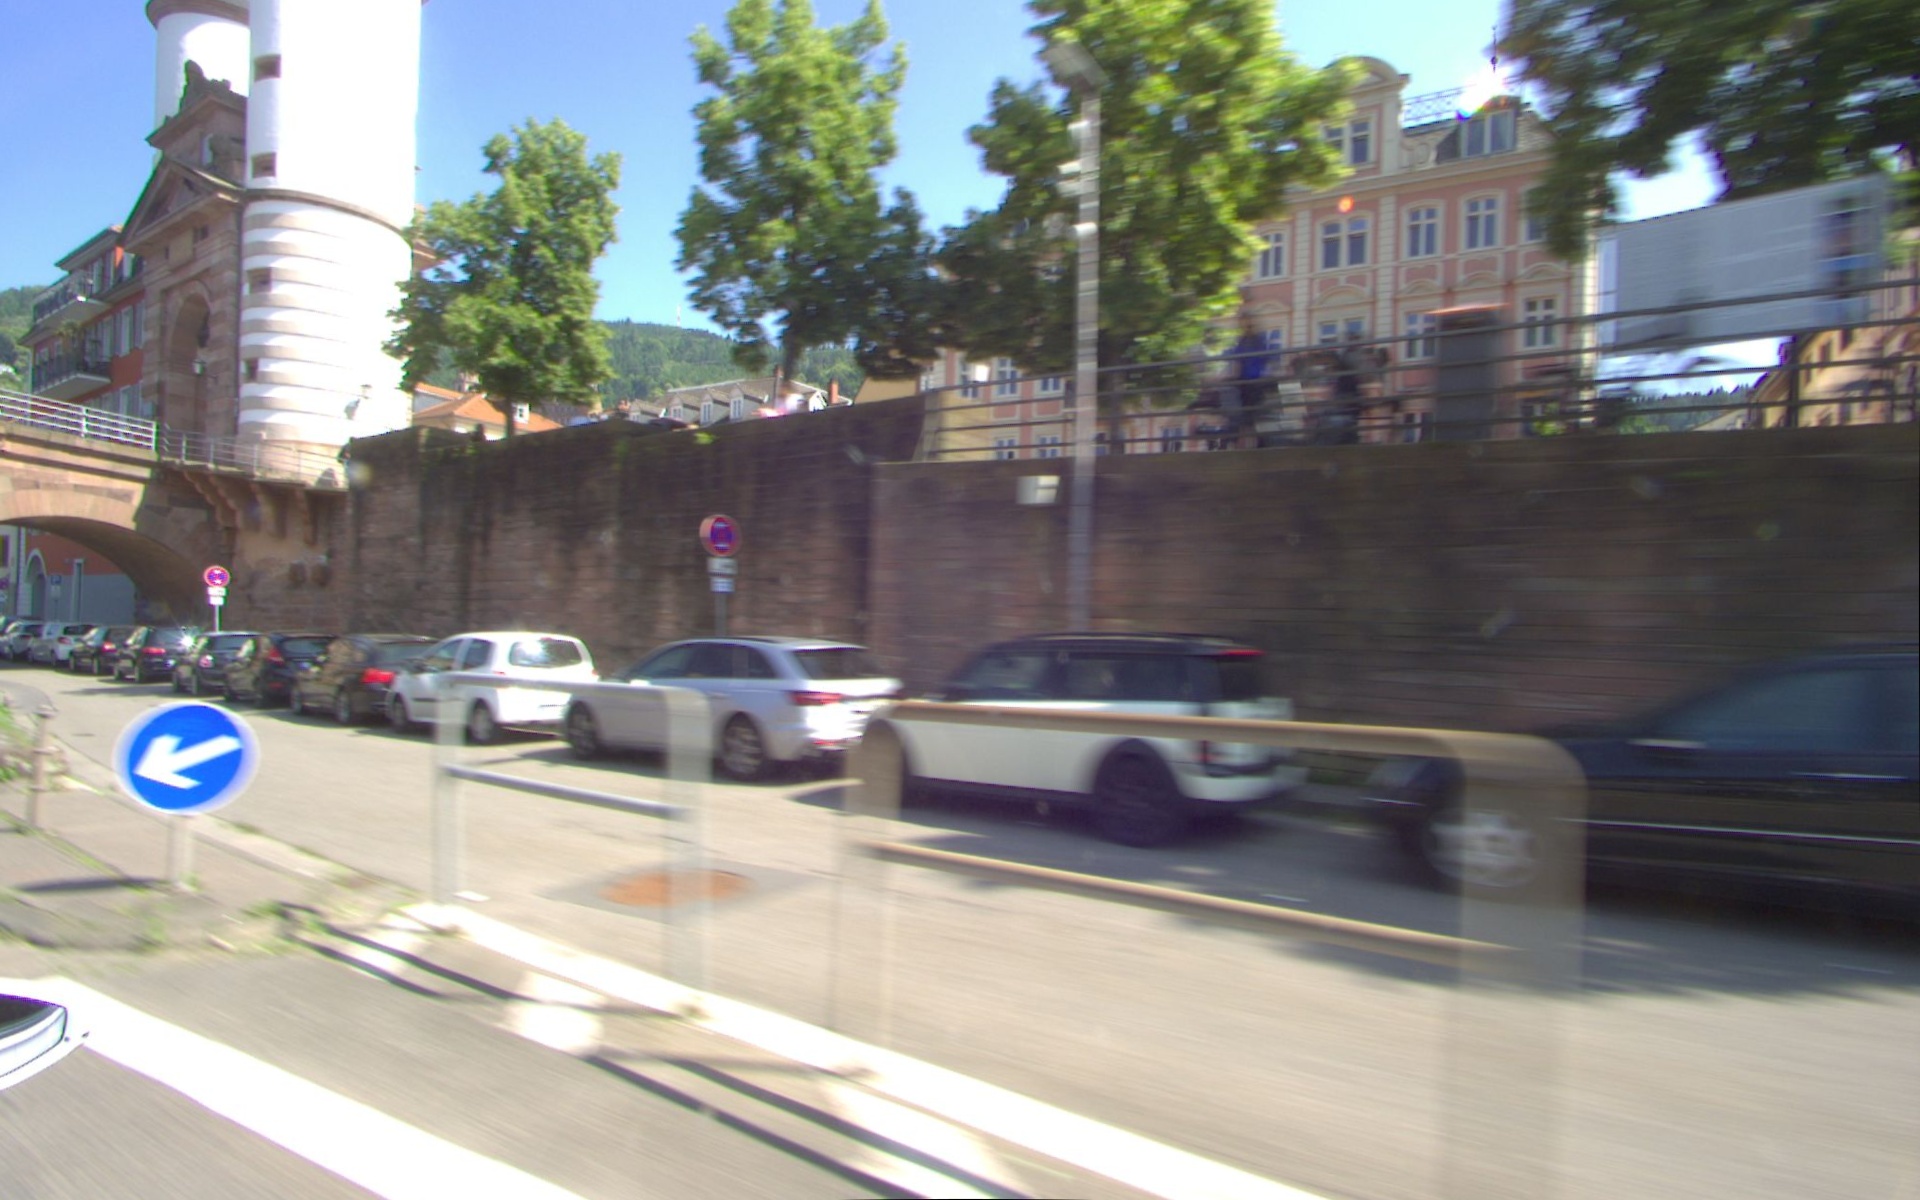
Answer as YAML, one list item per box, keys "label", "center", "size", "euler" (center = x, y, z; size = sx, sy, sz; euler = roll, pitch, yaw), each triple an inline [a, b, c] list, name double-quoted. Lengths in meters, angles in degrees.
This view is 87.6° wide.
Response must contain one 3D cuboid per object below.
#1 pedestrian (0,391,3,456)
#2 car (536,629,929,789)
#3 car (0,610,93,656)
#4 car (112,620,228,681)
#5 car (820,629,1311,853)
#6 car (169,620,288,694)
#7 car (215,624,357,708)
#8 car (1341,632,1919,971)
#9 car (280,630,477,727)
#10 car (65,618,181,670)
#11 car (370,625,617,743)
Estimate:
- label: "pedestrian"
  center: [-31.256, -5.697, 32.125]
  size: [0.578, 2.040, 0.682]
  euler: [0, -1, 34]
- label: "car"
  center: [-2.732, 1.090, 11.420]
  size: [4.695, 1.450, 1.749]
  euler: [-1, -2, 37]
- label: "car"
  center: [-33.436, 1.174, 36.495]
  size: [4.359, 1.512, 1.887]
  euler: [1, -1, 37]
- label: "car"
  center: [-21.716, 1.331, 27.488]
  size: [3.939, 1.522, 1.768]
  euler: [0, -1, 41]
- label: "car"
  center: [0.738, 0.986, 8.392]
  size: [3.857, 1.431, 1.605]
  euler: [-1, -2, 40]
- label: "car"
  center: [-17.014, 1.277, 23.235]
  size: [3.862, 1.540, 1.582]
  euler: [0, -2, 44]
- label: "car"
  center: [-13.532, 1.259, 20.038]
  size: [3.674, 1.503, 1.488]
  euler: [0, -2, 42]
- label: "car"
  center: [4.588, 0.936, 5.306]
  size: [4.477, 1.468, 1.837]
  euler: [-1, -2, 38]
- label: "car"
  center: [-9.943, 1.232, 16.982]
  size: [4.359, 1.406, 1.702]
  euler: [-1, -1, 43]
- label: "car"
  center: [-25.730, 1.318, 30.740]
  size: [4.434, 1.455, 1.770]
  euler: [0, -2, 37]
- label: "car"
  center: [-6.767, 1.128, 14.443]
  size: [3.500, 1.476, 1.707]
  euler: [-1, -2, 35]
